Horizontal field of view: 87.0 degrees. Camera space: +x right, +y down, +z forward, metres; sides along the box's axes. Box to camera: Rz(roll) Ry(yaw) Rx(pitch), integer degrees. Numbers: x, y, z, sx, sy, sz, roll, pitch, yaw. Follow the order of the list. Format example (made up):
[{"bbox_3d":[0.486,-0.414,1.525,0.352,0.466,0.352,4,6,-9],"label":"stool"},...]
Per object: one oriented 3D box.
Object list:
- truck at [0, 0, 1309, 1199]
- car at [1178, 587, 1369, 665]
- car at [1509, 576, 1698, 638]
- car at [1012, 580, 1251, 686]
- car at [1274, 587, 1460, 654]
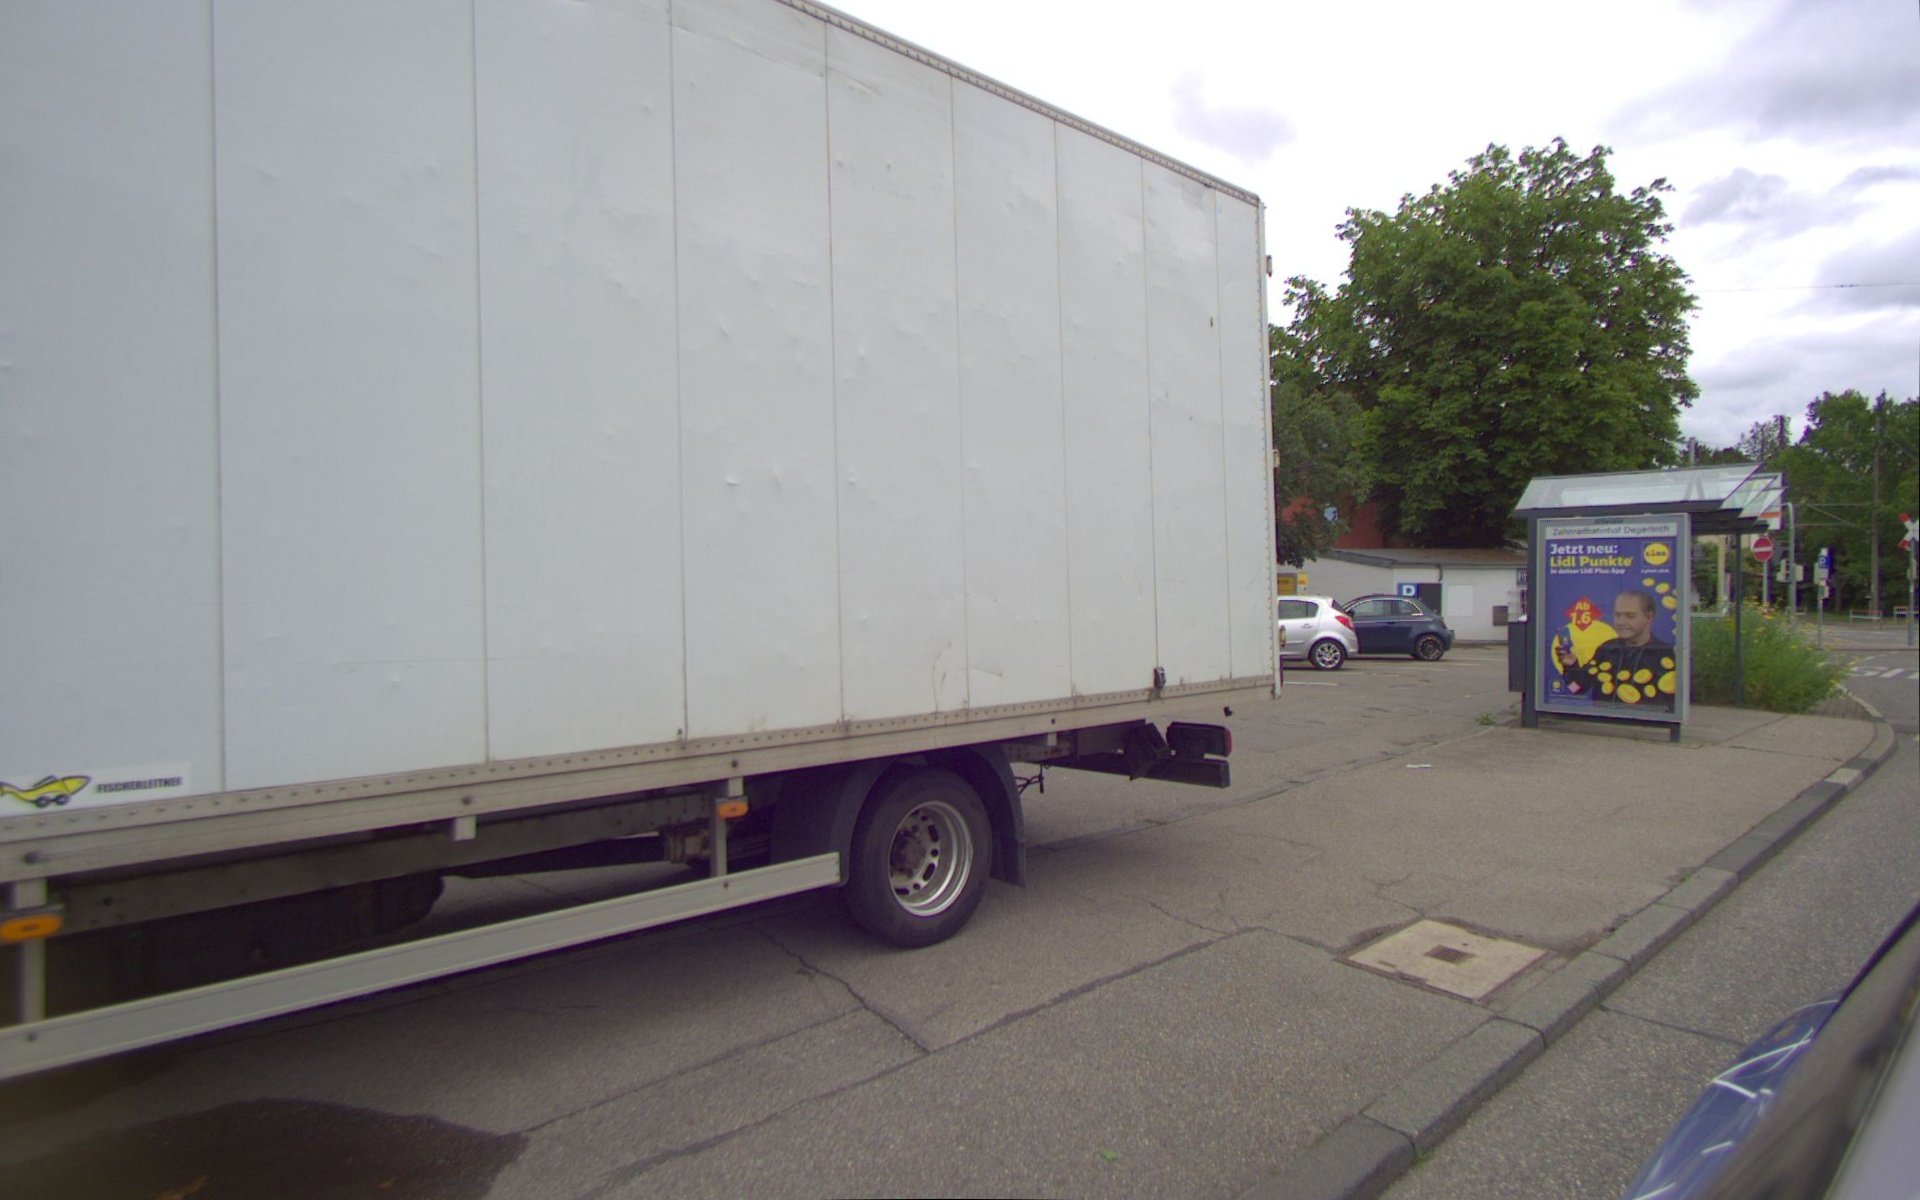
[{"bbox_3d":[-1.922,-0.450,3.761,7.673,3.569,2.578,0,1,-41],"label":"truck"},{"bbox_3d":[6.173,0.493,20.113,3.470,1.395,1.538,1,-1,18],"label":"car"},{"bbox_3d":[19.417,0.190,30.657,4.602,1.770,1.853,1,0,-4],"label":"car"},{"bbox_3d":[2.816,0.470,16.591,3.607,1.452,1.581,2,3,22],"label":"car"},{"bbox_3d":[9.591,0.441,24.207,3.945,1.495,1.870,0,0,17],"label":"car"}]
